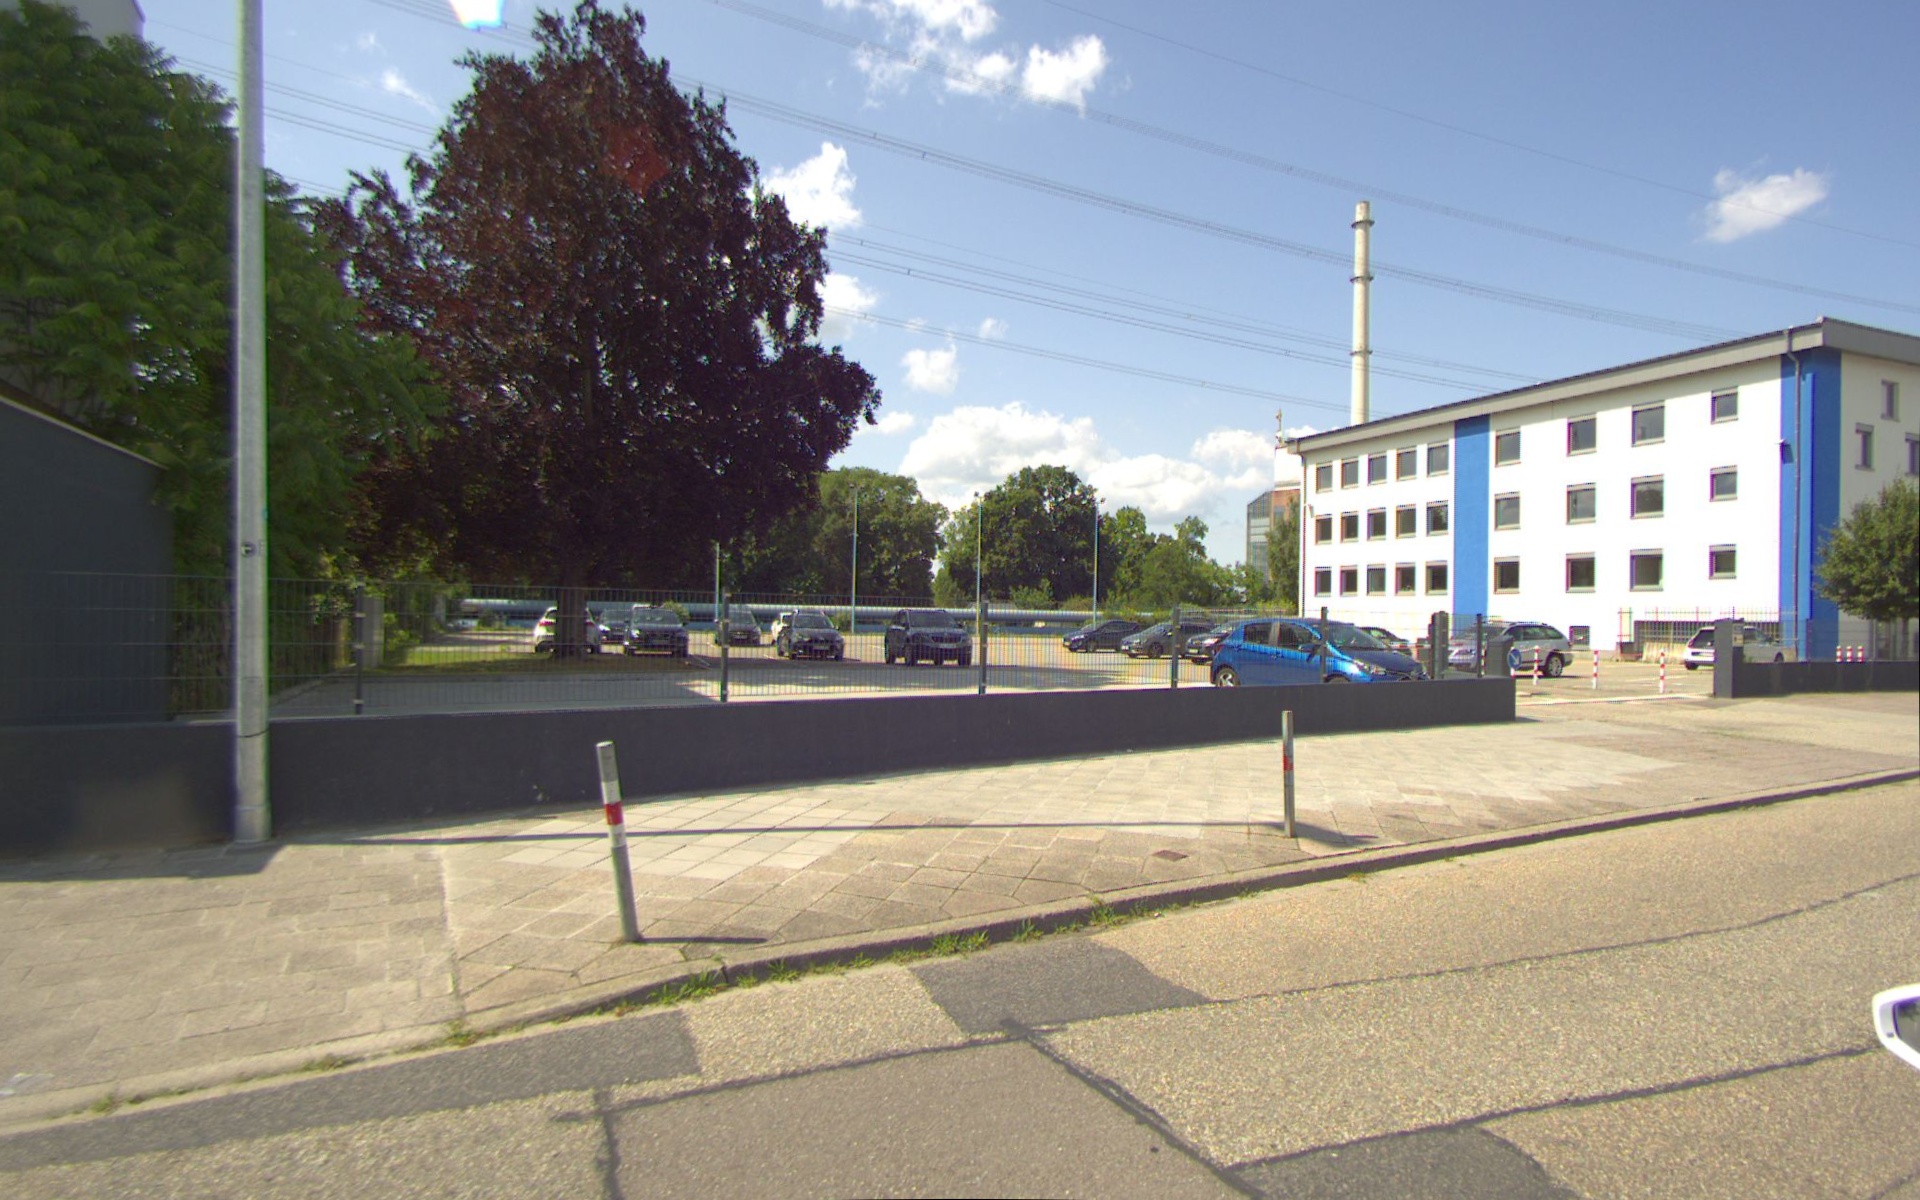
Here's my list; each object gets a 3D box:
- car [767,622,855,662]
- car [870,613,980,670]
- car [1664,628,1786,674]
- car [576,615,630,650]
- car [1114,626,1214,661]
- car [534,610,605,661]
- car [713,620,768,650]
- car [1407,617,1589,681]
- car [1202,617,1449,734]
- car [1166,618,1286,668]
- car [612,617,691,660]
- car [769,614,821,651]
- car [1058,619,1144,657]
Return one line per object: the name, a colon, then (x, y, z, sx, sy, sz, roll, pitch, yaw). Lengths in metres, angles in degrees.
car: (-5.001, 1.354, 33.302, 1.805, 1.243, 4.187, 2, -2, -24)
car: (-1.086, 1.164, 28.815, 1.658, 1.522, 4.187, 2, -2, -24)
car: (26.727, 1.773, 35.102, 3.706, 1.527, 1.868, 2, -1, -24)
car: (-14.595, 1.300, 40.966, 1.623, 1.381, 3.973, 1, -1, -26)
car: (8.289, 1.768, 40.850, 3.703, 1.339, 1.535, 1, -1, -19)
car: (-12.061, 1.070, 30.885, 1.805, 1.427, 4.270, 2, -2, -24)
car: (-9.435, 1.489, 43.088, 1.658, 1.246, 3.303, 2, -2, -24)
car: (14.909, 1.346, 27.806, 4.774, 1.658, 1.821, 2, -2, -22)
car: (6.088, 1.182, 17.096, 1.856, 1.731, 3.631, 2, -1, -30)
car: (9.751, 1.575, 36.820, 4.012, 1.731, 1.867, 2, -1, -25)
car: (-9.631, 1.170, 31.159, 1.805, 1.243, 4.187, 2, -2, -24)
car: (-8.453, 1.656, 51.189, 1.958, 1.808, 3.764, 1, -1, -19)
car: (6.461, 1.713, 45.849, 3.964, 1.639, 1.635, 2, -1, -38)
